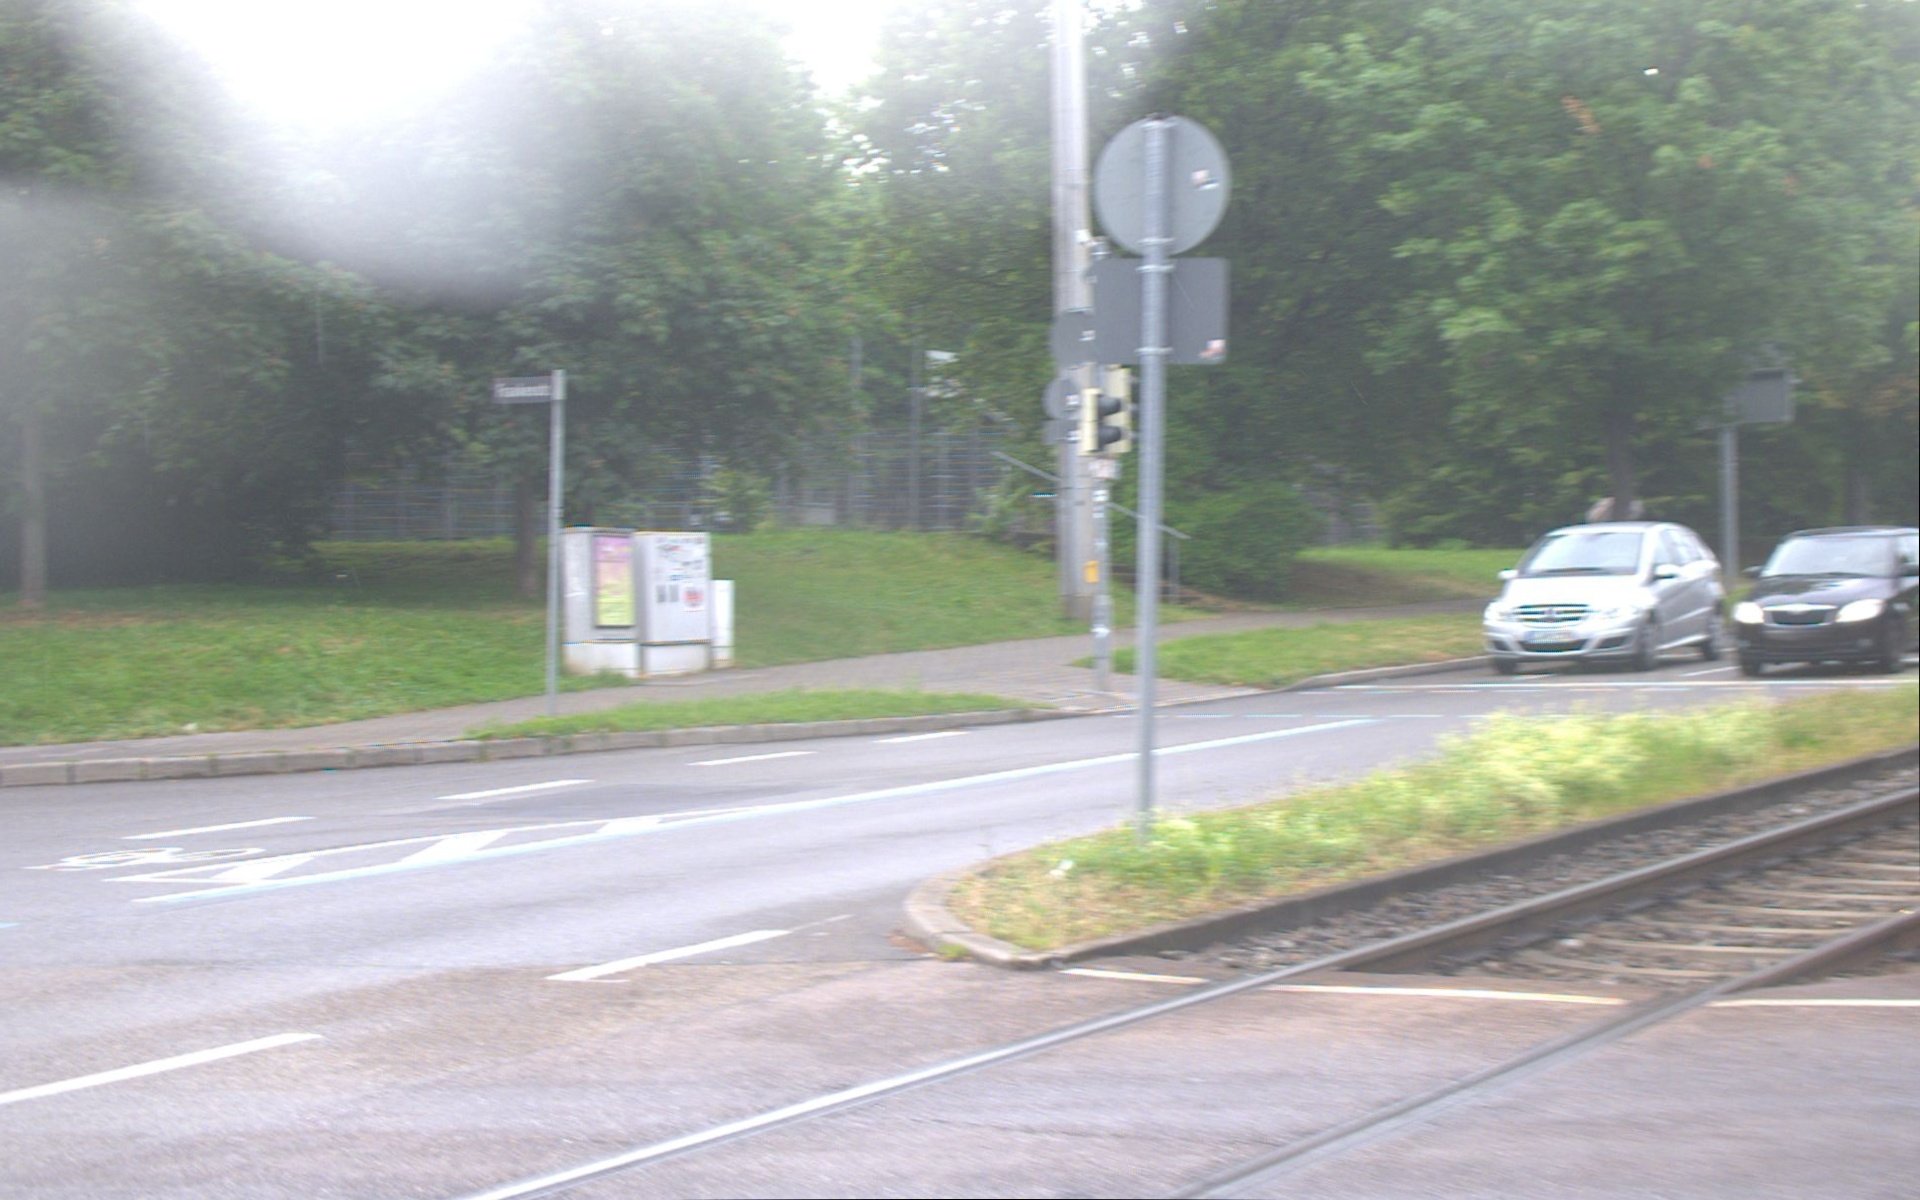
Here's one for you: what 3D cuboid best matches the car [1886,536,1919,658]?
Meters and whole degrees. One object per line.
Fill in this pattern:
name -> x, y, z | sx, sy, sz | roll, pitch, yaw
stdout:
car -> 12.351, -0.094, 41.062 | 1.603, 1.397, 3.786 | -2, 0, 29

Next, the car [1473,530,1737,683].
car -> 7.253, 0.041, 38.421 | 1.722, 1.548, 3.857 | -2, 0, 29

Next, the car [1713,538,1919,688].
car -> 9.139, 0.093, 35.530 | 1.604, 1.397, 3.786 | 2, 2, 29

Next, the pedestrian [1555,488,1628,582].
pedestrian -> 10.897, -1.116, 59.290 | 1.014, 1.595, 1.038 | 0, 1, 24
